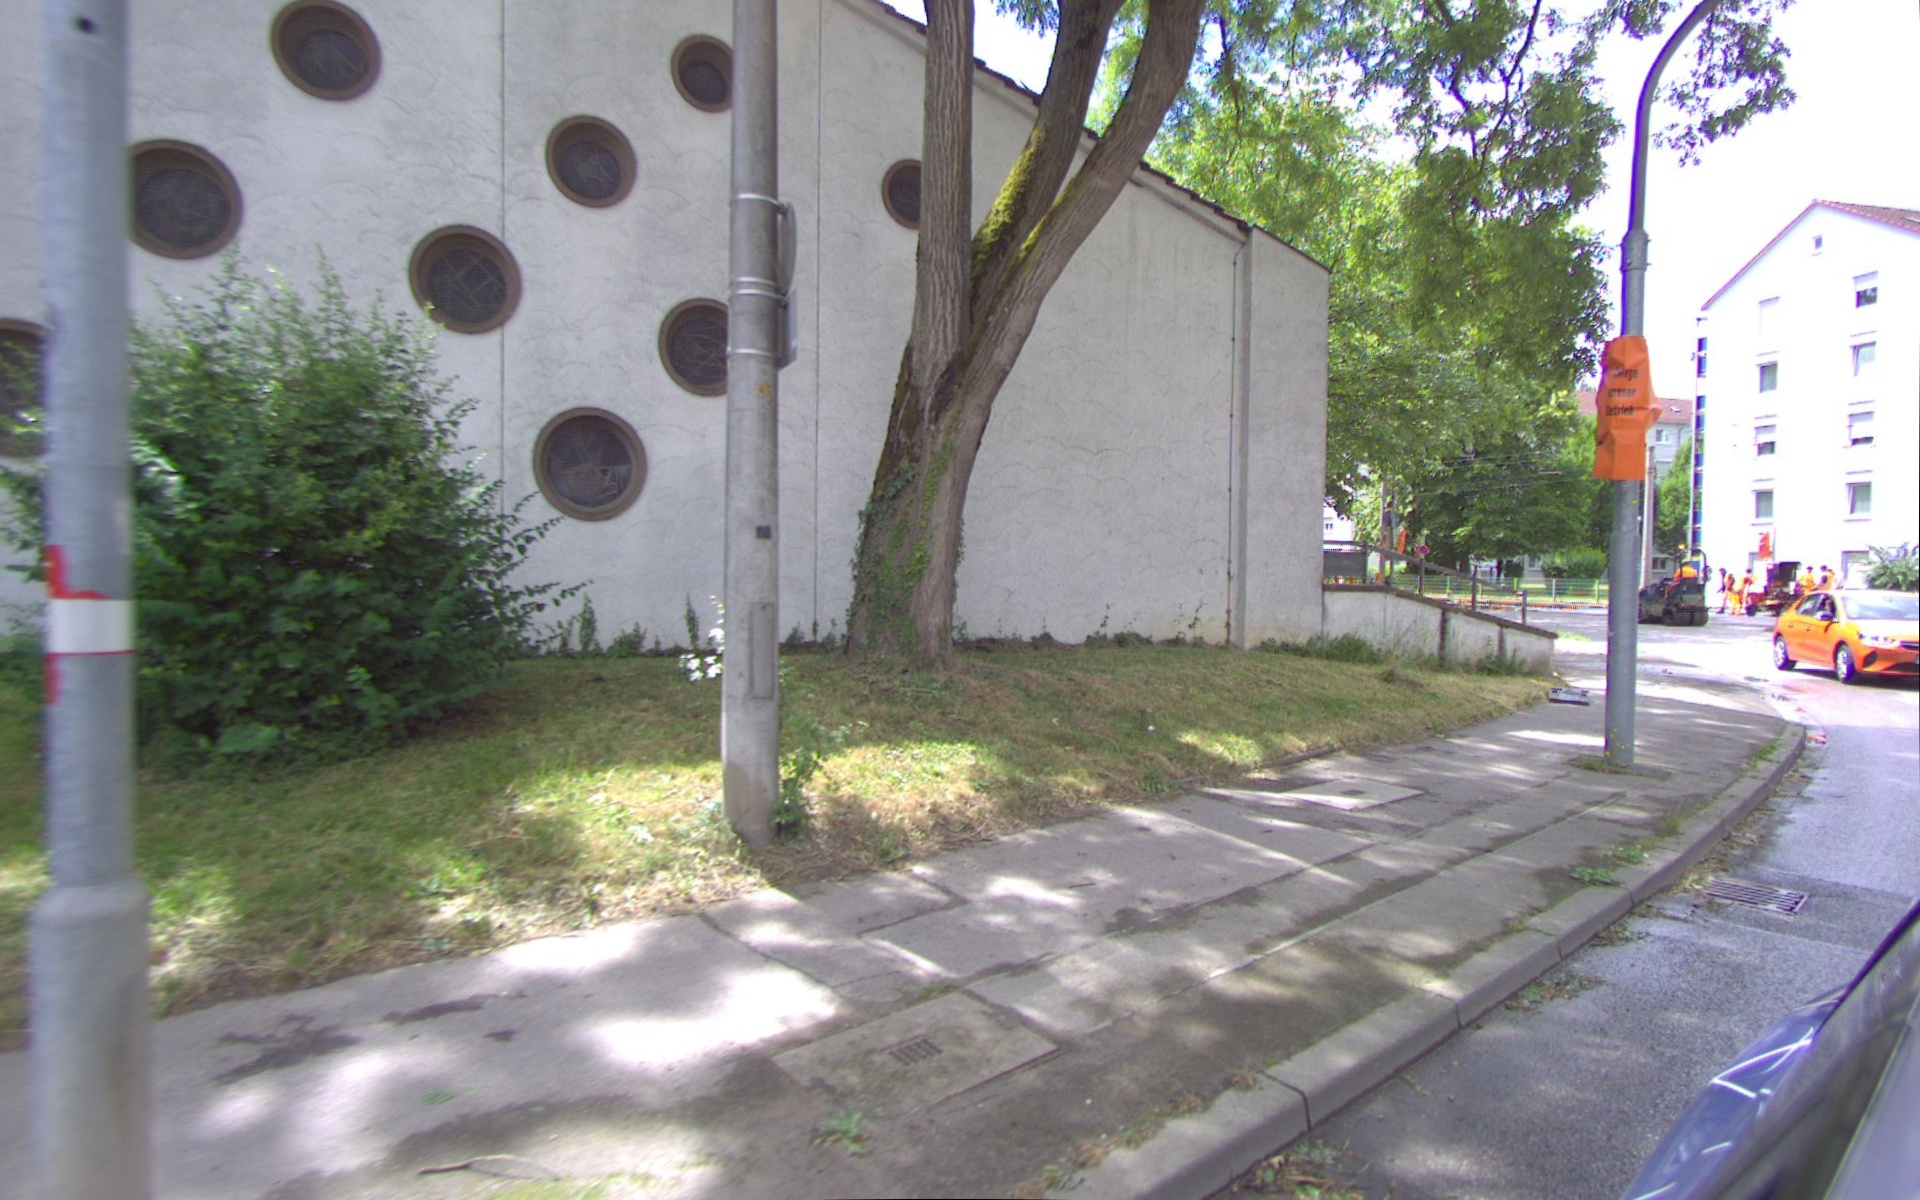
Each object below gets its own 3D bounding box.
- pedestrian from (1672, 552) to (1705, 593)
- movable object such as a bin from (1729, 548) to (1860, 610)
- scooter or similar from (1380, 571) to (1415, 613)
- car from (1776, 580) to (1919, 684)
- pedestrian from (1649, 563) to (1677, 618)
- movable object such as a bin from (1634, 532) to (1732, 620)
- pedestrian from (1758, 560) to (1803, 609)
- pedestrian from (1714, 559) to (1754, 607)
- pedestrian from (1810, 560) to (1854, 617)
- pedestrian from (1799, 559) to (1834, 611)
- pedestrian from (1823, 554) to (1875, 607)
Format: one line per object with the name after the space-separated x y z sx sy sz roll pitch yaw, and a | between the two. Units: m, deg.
22.078 -0.839 30.676 0.540 1.231 0.618 1 1 -1 | pedestrian
28.902 -0.737 35.153 1.961 2.038 2.970 1 1 -3 | movable object such as a bin
13.484 -0.260 31.232 0.555 1.247 1.194 1 1 2 | scooter or similar
15.029 0.435 16.388 1.750 1.451 3.811 -1 1 22 | car
22.030 -0.304 31.719 0.461 1.702 0.560 -2 1 -9 | pedestrian
22.385 -0.763 31.420 1.295 2.626 2.363 0 1 -1 | movable object such as a bin
29.616 -0.549 36.548 0.843 1.738 0.919 0 1 -1 | pedestrian
28.728 -0.633 37.583 0.738 1.738 0.920 0 1 -7 | pedestrian
28.999 -0.400 33.668 0.767 1.862 0.770 1 1 -14 | pedestrian
32.038 -0.583 37.863 0.875 1.931 0.659 1 2 34 | pedestrian
31.559 -0.706 35.934 1.073 1.846 0.876 1 1 -12 | pedestrian
